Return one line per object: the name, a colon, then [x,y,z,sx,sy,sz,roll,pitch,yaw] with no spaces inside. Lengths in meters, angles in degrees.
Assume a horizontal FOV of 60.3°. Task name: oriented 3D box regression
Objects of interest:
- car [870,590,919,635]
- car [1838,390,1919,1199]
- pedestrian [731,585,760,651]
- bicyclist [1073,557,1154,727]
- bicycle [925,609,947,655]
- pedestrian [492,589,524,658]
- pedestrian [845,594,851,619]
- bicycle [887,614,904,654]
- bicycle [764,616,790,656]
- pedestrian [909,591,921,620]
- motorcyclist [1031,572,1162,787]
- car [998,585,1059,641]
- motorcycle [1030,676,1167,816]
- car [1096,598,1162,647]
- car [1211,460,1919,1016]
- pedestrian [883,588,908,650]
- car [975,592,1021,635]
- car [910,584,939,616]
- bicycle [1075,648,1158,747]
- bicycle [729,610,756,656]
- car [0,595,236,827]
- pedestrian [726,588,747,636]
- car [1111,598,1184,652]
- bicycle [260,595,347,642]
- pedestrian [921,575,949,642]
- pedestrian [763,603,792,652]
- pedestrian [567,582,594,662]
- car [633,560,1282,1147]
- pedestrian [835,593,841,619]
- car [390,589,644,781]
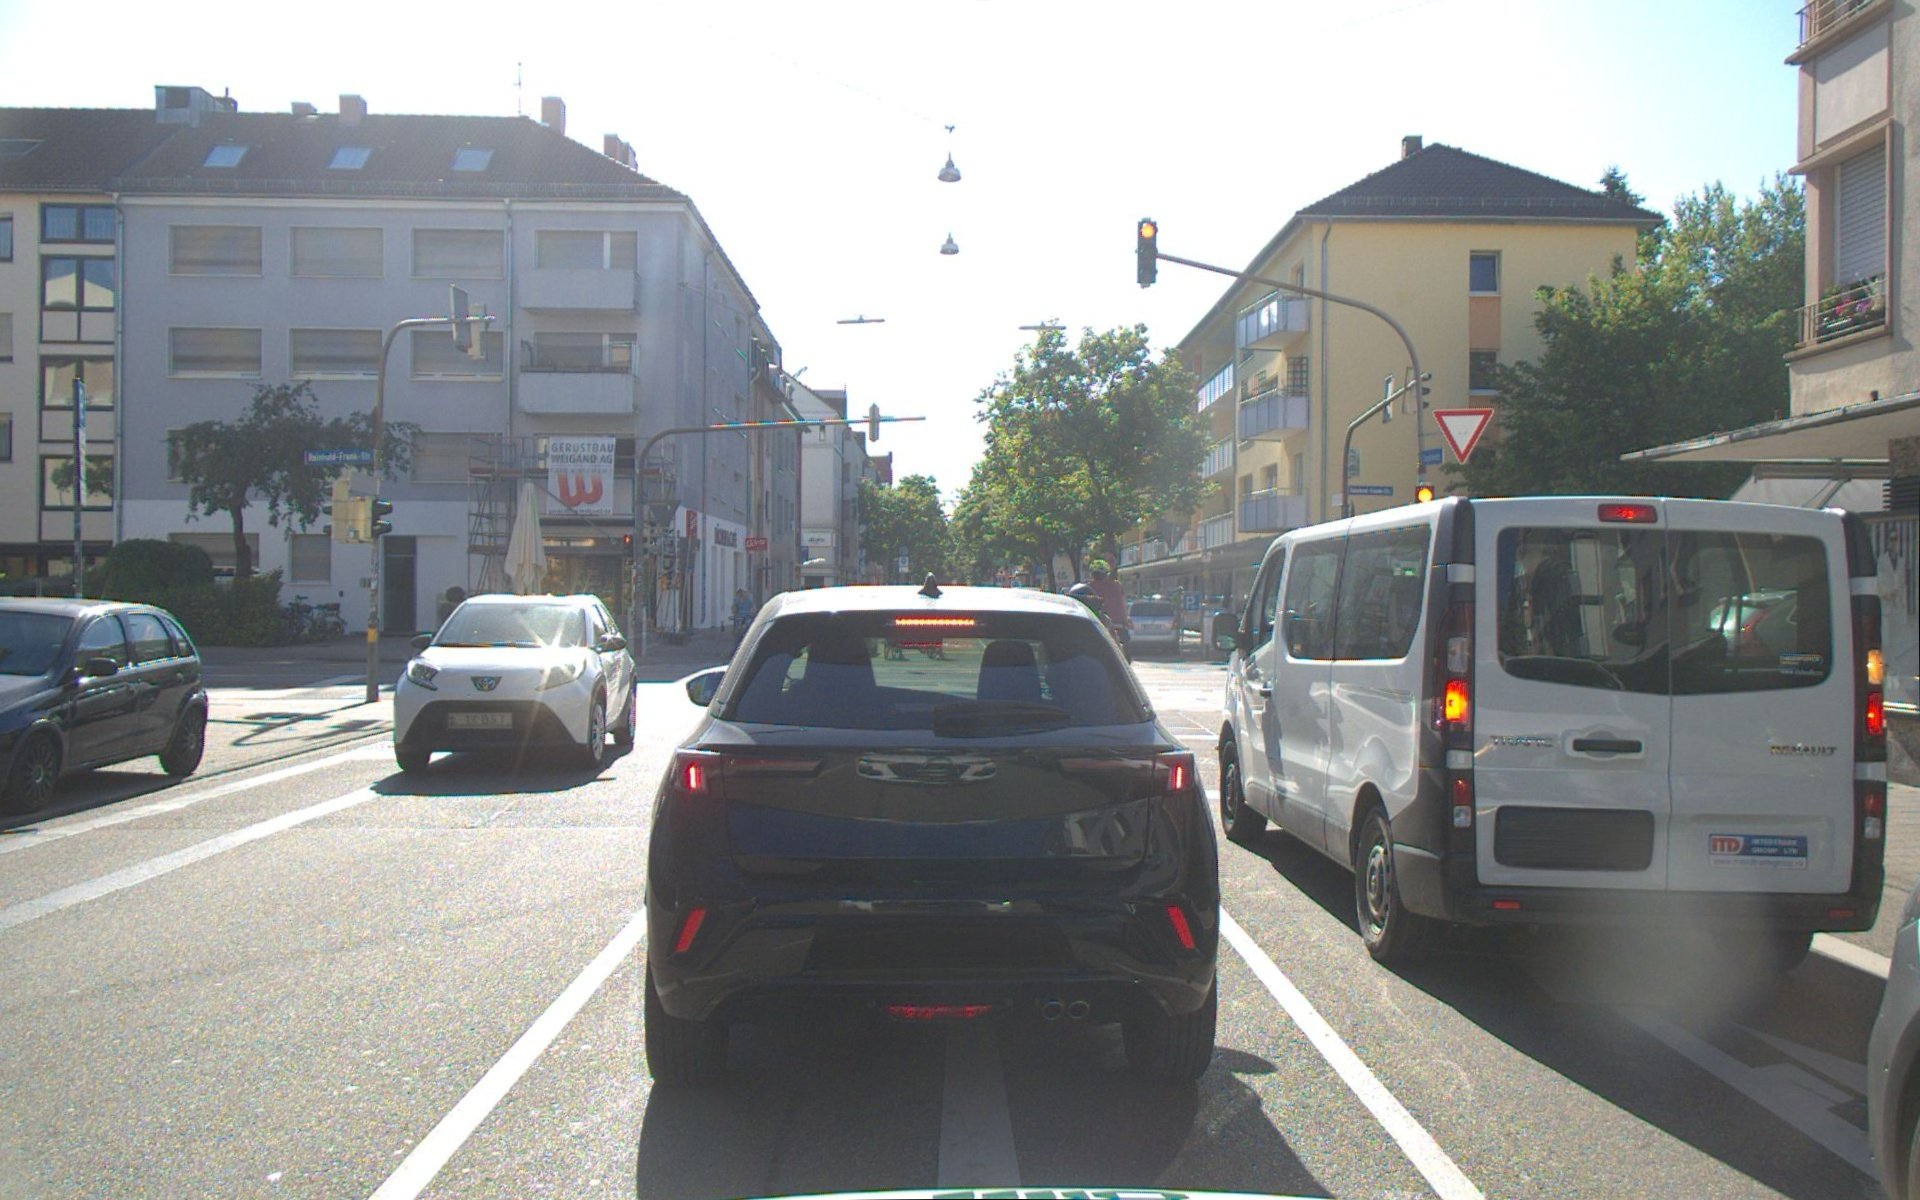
car: [-2.612,0.465,66.890,1.787,1.758,4.000,0,0,1]
car: [3.007,0.522,1.320,1.799,1.901,4.994,0,0,-3]
pedestrian: [-5.670,0.472,43.731,0.692,1.707,0.802,0,0,-3]
bicyclist: [1.623,0.431,17.688,0.675,1.742,1.413,0,0,-3]
bicycle: [-0.635,0.840,43.938,0.511,1.167,2.169,0,0,-3]
pedestrian: [-10.235,0.521,37.426,0.573,1.547,0.649,0,0,-4]
pedestrian: [-7.501,0.436,110.635,0.394,1.704,0.417,0,0,-1]
bicycle: [-1.708,0.892,43.991,0.434,1.010,2.068,0,0,-3]
bicycle: [-4.857,0.943,43.967,0.511,1.010,2.338,0,0,-3]
pedestrian: [-2.660,0.322,97.858,0.558,1.719,0.588,0,0,11]
motorcyclist: [0.998,0.566,12.386,0.846,1.528,1.159,0,0,-2]
car: [2.195,0.385,53.954,1.863,1.758,4.074,0,0,1]
motorcycle: [0.986,1.043,12.237,0.808,0.860,1.884,0,0,-1]
car: [5.285,0.686,52.147,1.601,1.458,3.999,0,0,-1]
car: [2.730,0.511,8.595,1.953,2.014,4.894,2,0,-1]
pedestrian: [-1.713,0.503,43.829,0.666,1.634,0.762,0,0,-3]
car: [1.587,0.552,70.209,1.863,1.758,4.000,0,0,0]
car: [-2.283,-0.001,105.906,1.817,2.049,3.880,0,0,-1]
bicycle: [1.653,1.012,17.743,0.565,0.920,2.300,0,0,-3]
bicycle: [-5.768,0.870,43.891,0.511,1.167,2.282,0,0,-3]
car: [-7.071,0.720,12.478,1.584,1.450,3.709,2,0,-1]
pedestrian: [-7.211,0.389,53.370,0.605,1.547,0.724,0,0,-4]
car: [5.325,0.687,47.393,1.601,1.458,3.956,0,0,-1]
bicycle: [-16.926,0.471,42.660,2.067,1.193,0.735,0,0,-25]
pedestrian: [-0.659,0.225,43.701,0.692,1.731,0.802,0,0,-3]
pedestrian: [-4.795,0.709,43.536,0.692,1.275,0.802,0,0,-3]
pedestrian: [-8.734,0.502,38.049,0.550,1.806,0.582,1,0,-9]
car: [-0.084,0.670,6.434,1.735,1.557,3.998,0,0,-3]
pedestrian: [-8.185,0.411,110.873,0.394,1.704,0.417,0,0,-1]
car: [-4.011,0.690,15.540,1.731,1.563,3.781,0,0,-6]
